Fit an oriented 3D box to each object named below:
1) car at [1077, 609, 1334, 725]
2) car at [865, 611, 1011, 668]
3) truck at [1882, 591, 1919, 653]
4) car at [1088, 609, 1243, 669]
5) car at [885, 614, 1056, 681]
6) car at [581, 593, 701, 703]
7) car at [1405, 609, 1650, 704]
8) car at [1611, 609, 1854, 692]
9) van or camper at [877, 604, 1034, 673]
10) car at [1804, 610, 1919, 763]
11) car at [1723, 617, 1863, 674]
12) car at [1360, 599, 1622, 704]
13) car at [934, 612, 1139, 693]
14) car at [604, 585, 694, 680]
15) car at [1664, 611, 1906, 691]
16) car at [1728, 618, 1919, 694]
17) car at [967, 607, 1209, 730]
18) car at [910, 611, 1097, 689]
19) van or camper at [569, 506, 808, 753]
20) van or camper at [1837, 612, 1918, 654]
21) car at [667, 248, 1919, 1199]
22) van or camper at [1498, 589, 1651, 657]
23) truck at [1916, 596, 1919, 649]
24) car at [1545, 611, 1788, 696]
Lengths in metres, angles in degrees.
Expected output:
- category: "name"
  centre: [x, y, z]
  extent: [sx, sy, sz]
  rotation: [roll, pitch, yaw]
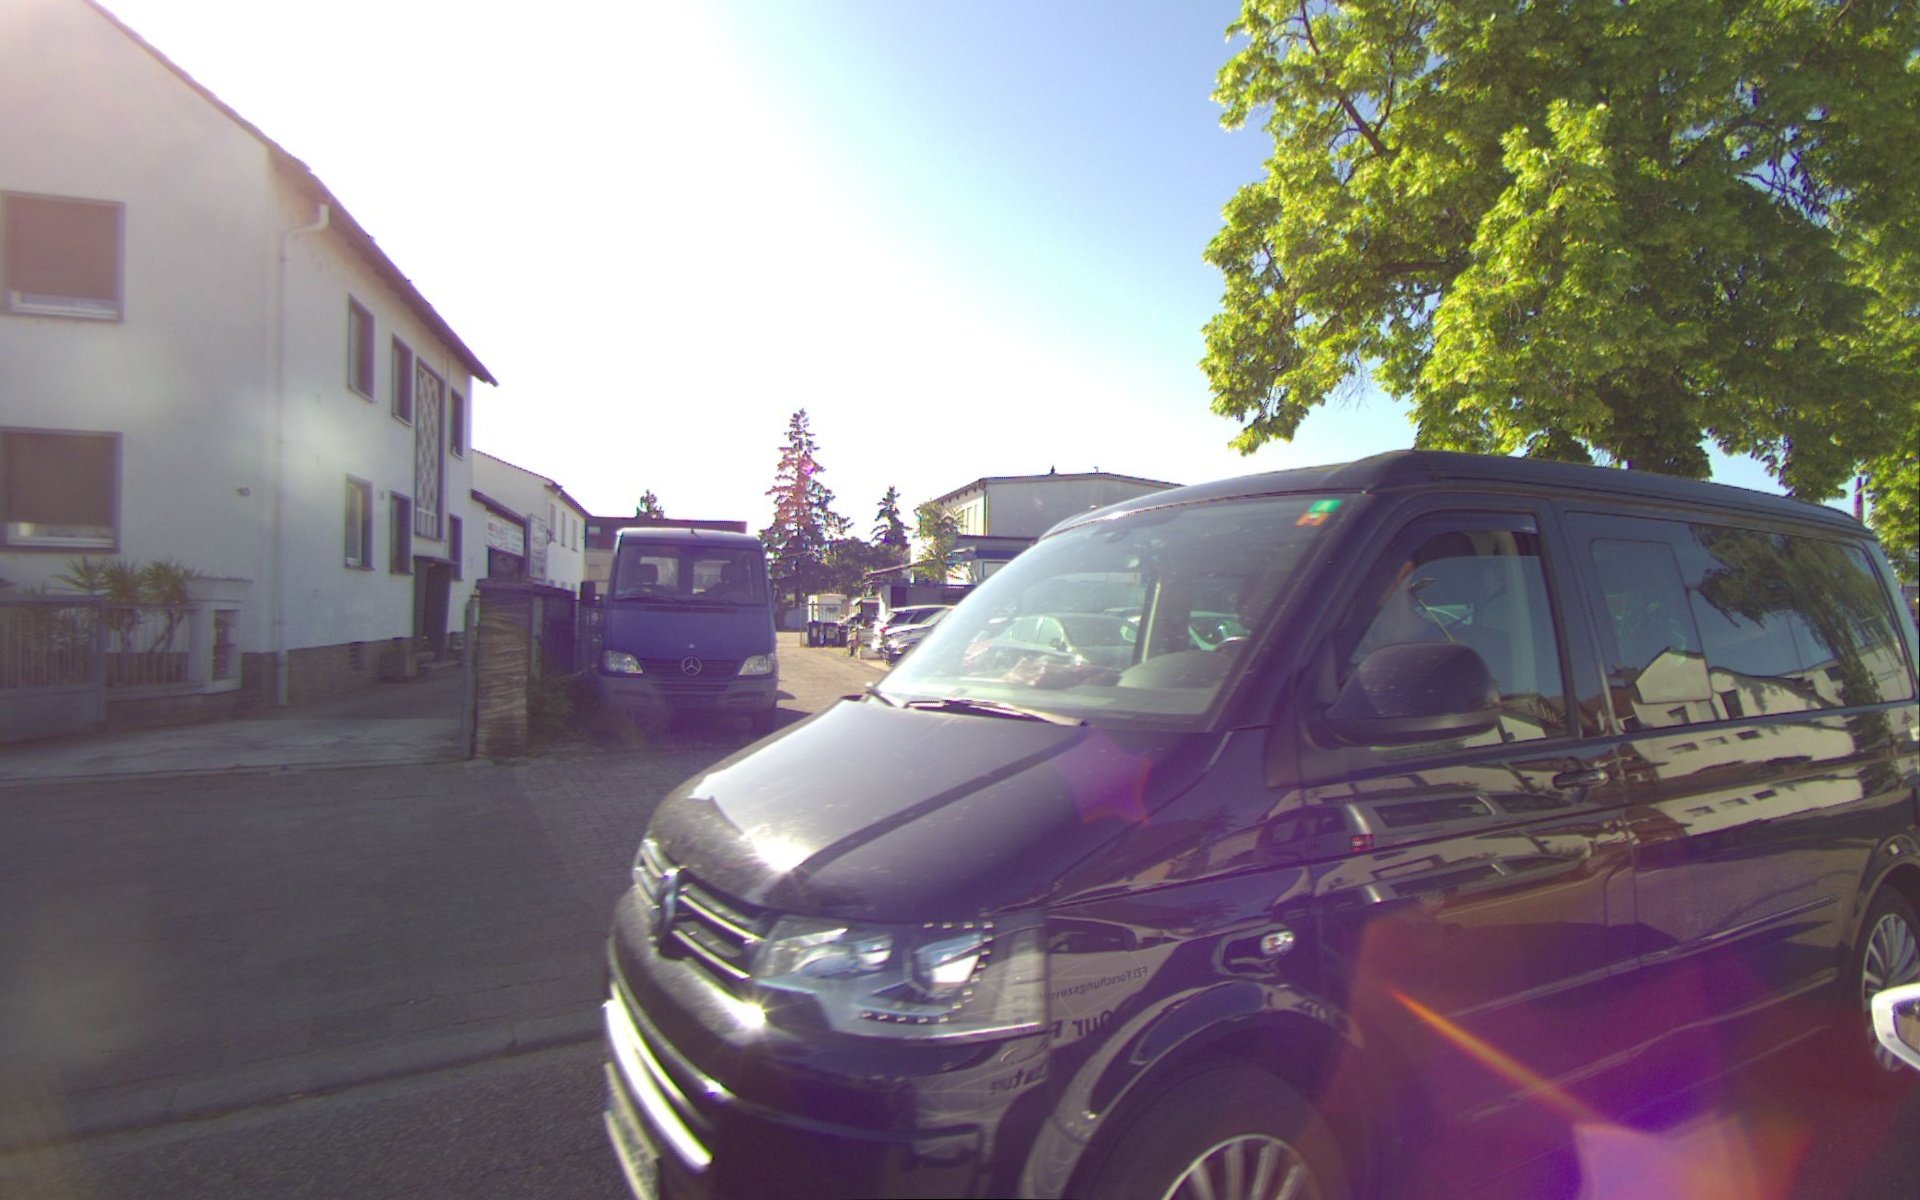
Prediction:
- category: "car"
  centre: [3.710, 0.940, 15.993]
  extent: [1.741, 1.562, 4.237]
  rotation: [0, -1, -24]
- category: "car"
  centre: [-0.640, 1.128, 29.460]
  extent: [3.941, 1.576, 1.694]
  rotation: [1, 0, -22]
- category: "truck"
  centre: [51.056, 1.182, 51.026]
  extent: [2.483, 3.161, 5.664]
  rotation: [1, 1, -18]
- category: "car"
  centre: [5.728, 1.062, 28.012]
  extent: [3.941, 1.576, 1.694]
  rotation: [1, 0, -22]
- category: "car"
  centre: [0.263, 1.163, 25.147]
  extent: [3.941, 1.576, 1.694]
  rotation: [1, 0, -22]
- category: "car"
  centre: [-5.365, 0.772, 17.150]
  extent: [1.651, 1.600, 3.982]
  rotation: [3, -2, -16]
- category: "car"
  centre: [11.566, 1.090, 20.816]
  extent: [1.741, 1.751, 4.239]
  rotation: [1, -1, -23]
- category: "car"
  centre: [17.965, 1.117, 23.599]
  extent: [1.741, 1.751, 4.239]
  rotation: [1, -1, -23]
- category: "van or camper"
  centre: [-0.117, 1.034, 27.420]
  extent: [3.941, 1.797, 1.694]
  rotation: [1, 0, -22]
- category: "car"
  centre: [13.136, 1.081, 13.144]
  extent: [4.290, 1.776, 1.795]
  rotation: [1, 1, -30]
- category: "car"
  centre: [28.048, 1.500, 33.842]
  extent: [4.098, 1.772, 1.775]
  rotation: [0, 0, -19]
- category: "car"
  centre: [9.844, 0.898, 19.006]
  extent: [1.741, 1.751, 4.239]
  rotation: [1, -1, -23]
- category: "car"
  centre: [1.597, 1.063, 20.861]
  extent: [3.944, 1.537, 1.660]
  rotation: [1, -1, -24]
- category: "car"
  centre: [-6.648, 0.657, 21.681]
  extent: [1.651, 1.860, 4.041]
  rotation: [1, -1, -16]
- category: "car"
  centre: [19.892, 1.161, 24.449]
  extent: [1.741, 1.751, 4.239]
  rotation: [1, -1, -23]
- category: "car"
  centre: [22.282, 1.350, 25.429]
  extent: [1.741, 1.751, 4.239]
  rotation: [1, -1, -23]
- category: "car"
  centre: [1.766, 0.920, 15.313]
  extent: [1.741, 1.562, 4.238]
  rotation: [1, 0, -23]
- category: "car"
  centre: [0.999, 1.113, 22.941]
  extent: [3.944, 1.640, 1.660]
  rotation: [1, 0, -24]
- category: "van or camper"
  centre: [-3.321, 0.311, 12.232]
  extent: [2.207, 2.351, 4.891]
  rotation: [2, 0, -16]
- category: "van or camper"
  centre: [46.551, 1.653, 50.976]
  extent: [3.950, 2.040, 1.853]
  rotation: [1, -1, -28]
- category: "car"
  centre: [1.618, 0.586, 3.472]
  extent: [4.760, 2.058, 1.886]
  rotation: [1, -2, -30]
- category: "van or camper"
  centre: [26.358, 1.002, 43.077]
  extent: [6.172, 2.751, 2.162]
  rotation: [1, 0, -19]
- category: "truck"
  centre: [56.226, 1.249, 54.478]
  extent: [2.137, 3.012, 6.091]
  rotation: [1, -1, -16]
- category: "car"
  centre: [15.952, 1.141, 22.933]
  extent: [1.743, 1.751, 4.233]
  rotation: [1, -1, -27]
